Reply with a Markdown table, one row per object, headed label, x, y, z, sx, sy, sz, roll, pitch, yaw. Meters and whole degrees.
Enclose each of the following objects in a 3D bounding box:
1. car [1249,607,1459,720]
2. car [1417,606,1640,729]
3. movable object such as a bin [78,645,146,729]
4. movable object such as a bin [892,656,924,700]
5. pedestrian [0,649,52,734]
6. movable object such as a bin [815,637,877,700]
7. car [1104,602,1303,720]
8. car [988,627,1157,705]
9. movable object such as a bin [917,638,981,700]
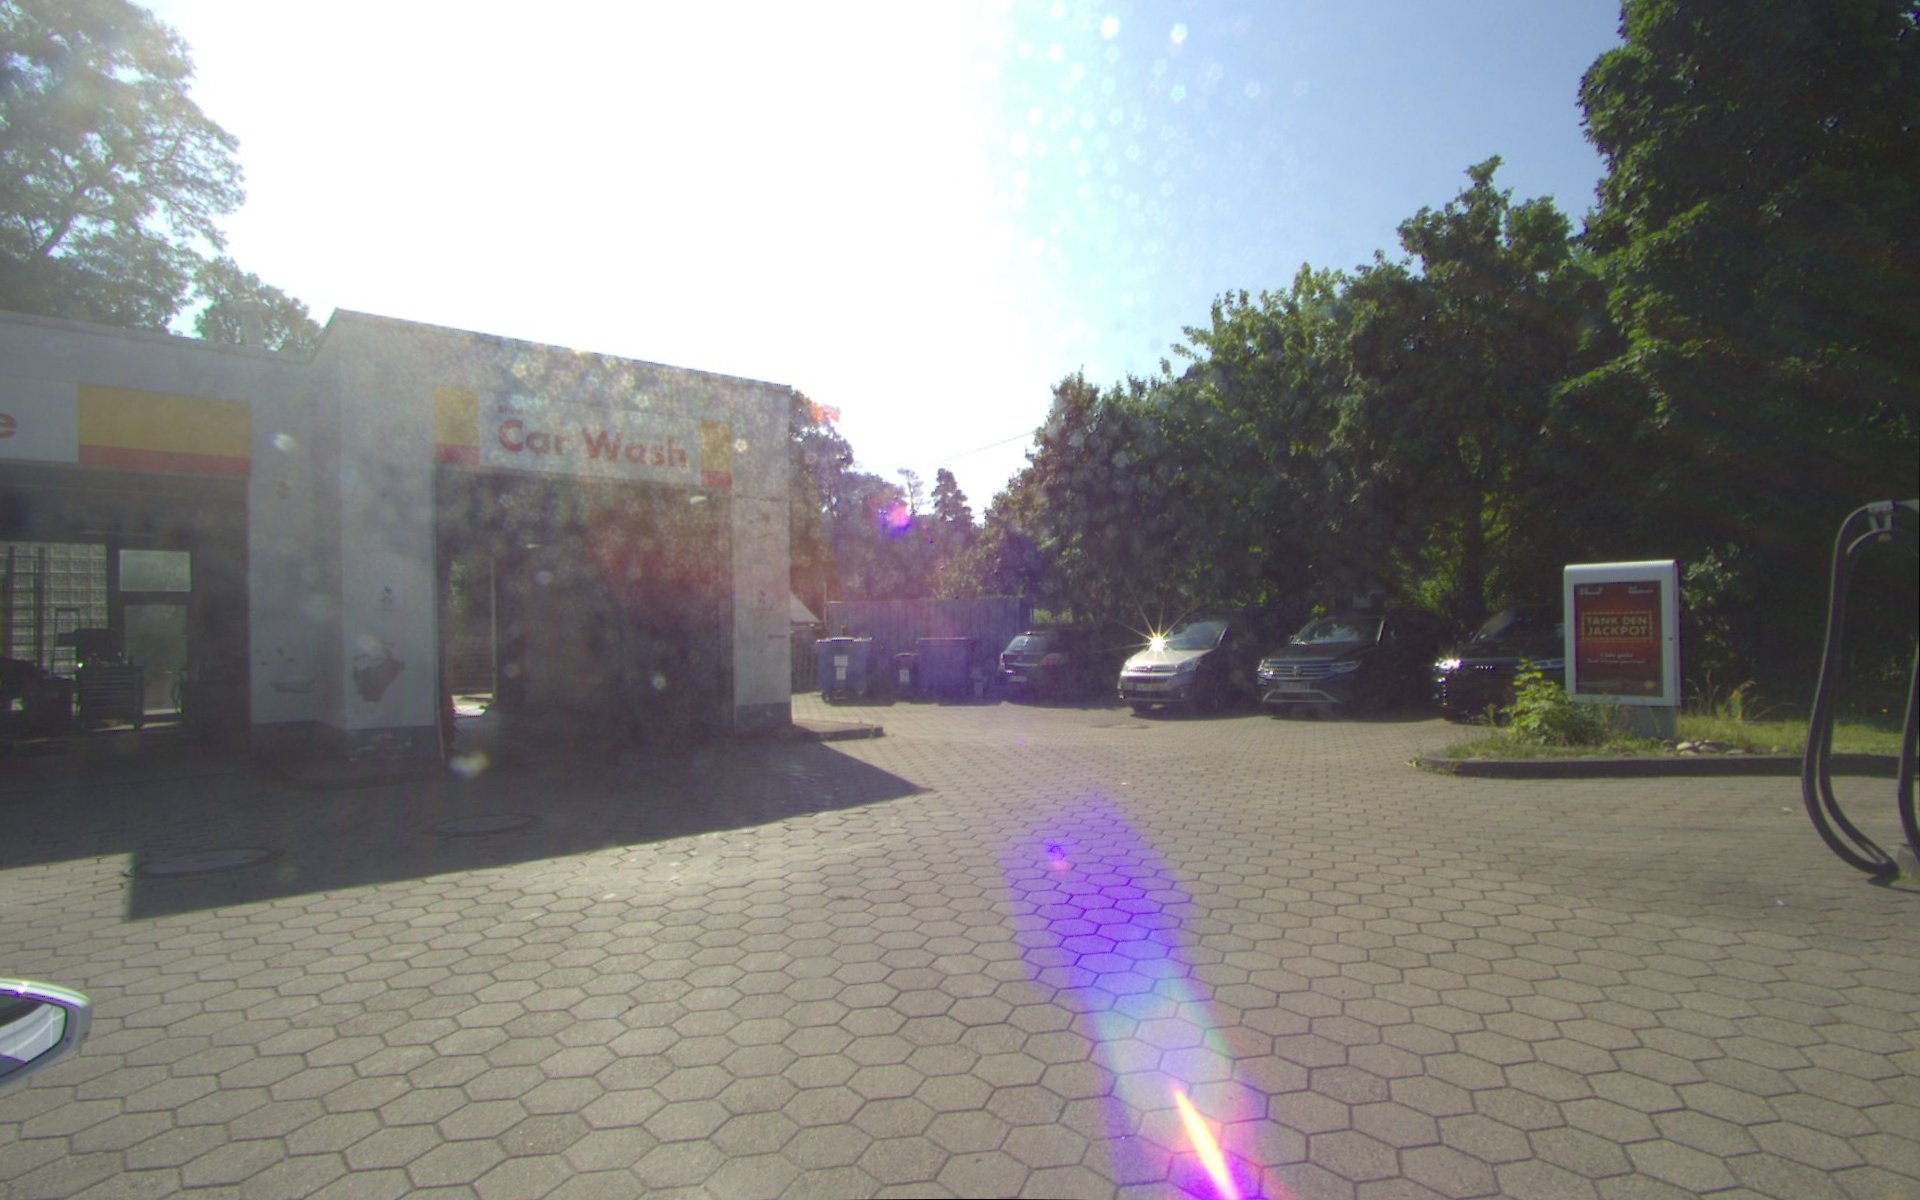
| label | x | y | z | sx | sy | sz | roll | pitch | yaw |
| --- | --- | --- | --- | --- | --- | --- | --- | --- | --- |
| car | 6.568 | 0.984 | 16.503 | 3.900 | 1.649 | 1.669 | 1 | -3 | -43 |
| car | 8.243 | 0.895 | 14.387 | 3.900 | 1.530 | 1.669 | 1 | -2 | -43 |
| movable object such as a bin | -13.306 | 1.357 | 15.729 | 0.790 | 1.251 | 0.540 | -1 | -3 | -39 |
| movable object such as a bin | -1.132 | 1.709 | 21.928 | 0.484 | 0.921 | 0.866 | -1 | -2 | 10 |
| pedestrian | -13.927 | 1.344 | 14.703 | 0.857 | 1.212 | 0.737 | 0 | -3 | -42 |
| movable object such as a bin | -2.486 | 1.485 | 21.966 | 1.211 | 1.342 | 0.850 | -1 | -1 | 3 |
| car | 4.585 | 1.049 | 18.567 | 3.898 | 1.817 | 1.669 | -3 | 0 | -43 |
| car | 2.444 | 1.341 | 21.421 | 3.471 | 1.457 | 1.670 | 0 | 0 | -40 |
| movable object such as a bin | -0.237 | 1.483 | 21.756 | 1.212 | 1.306 | 0.866 | -1 | -1 | 12 |
